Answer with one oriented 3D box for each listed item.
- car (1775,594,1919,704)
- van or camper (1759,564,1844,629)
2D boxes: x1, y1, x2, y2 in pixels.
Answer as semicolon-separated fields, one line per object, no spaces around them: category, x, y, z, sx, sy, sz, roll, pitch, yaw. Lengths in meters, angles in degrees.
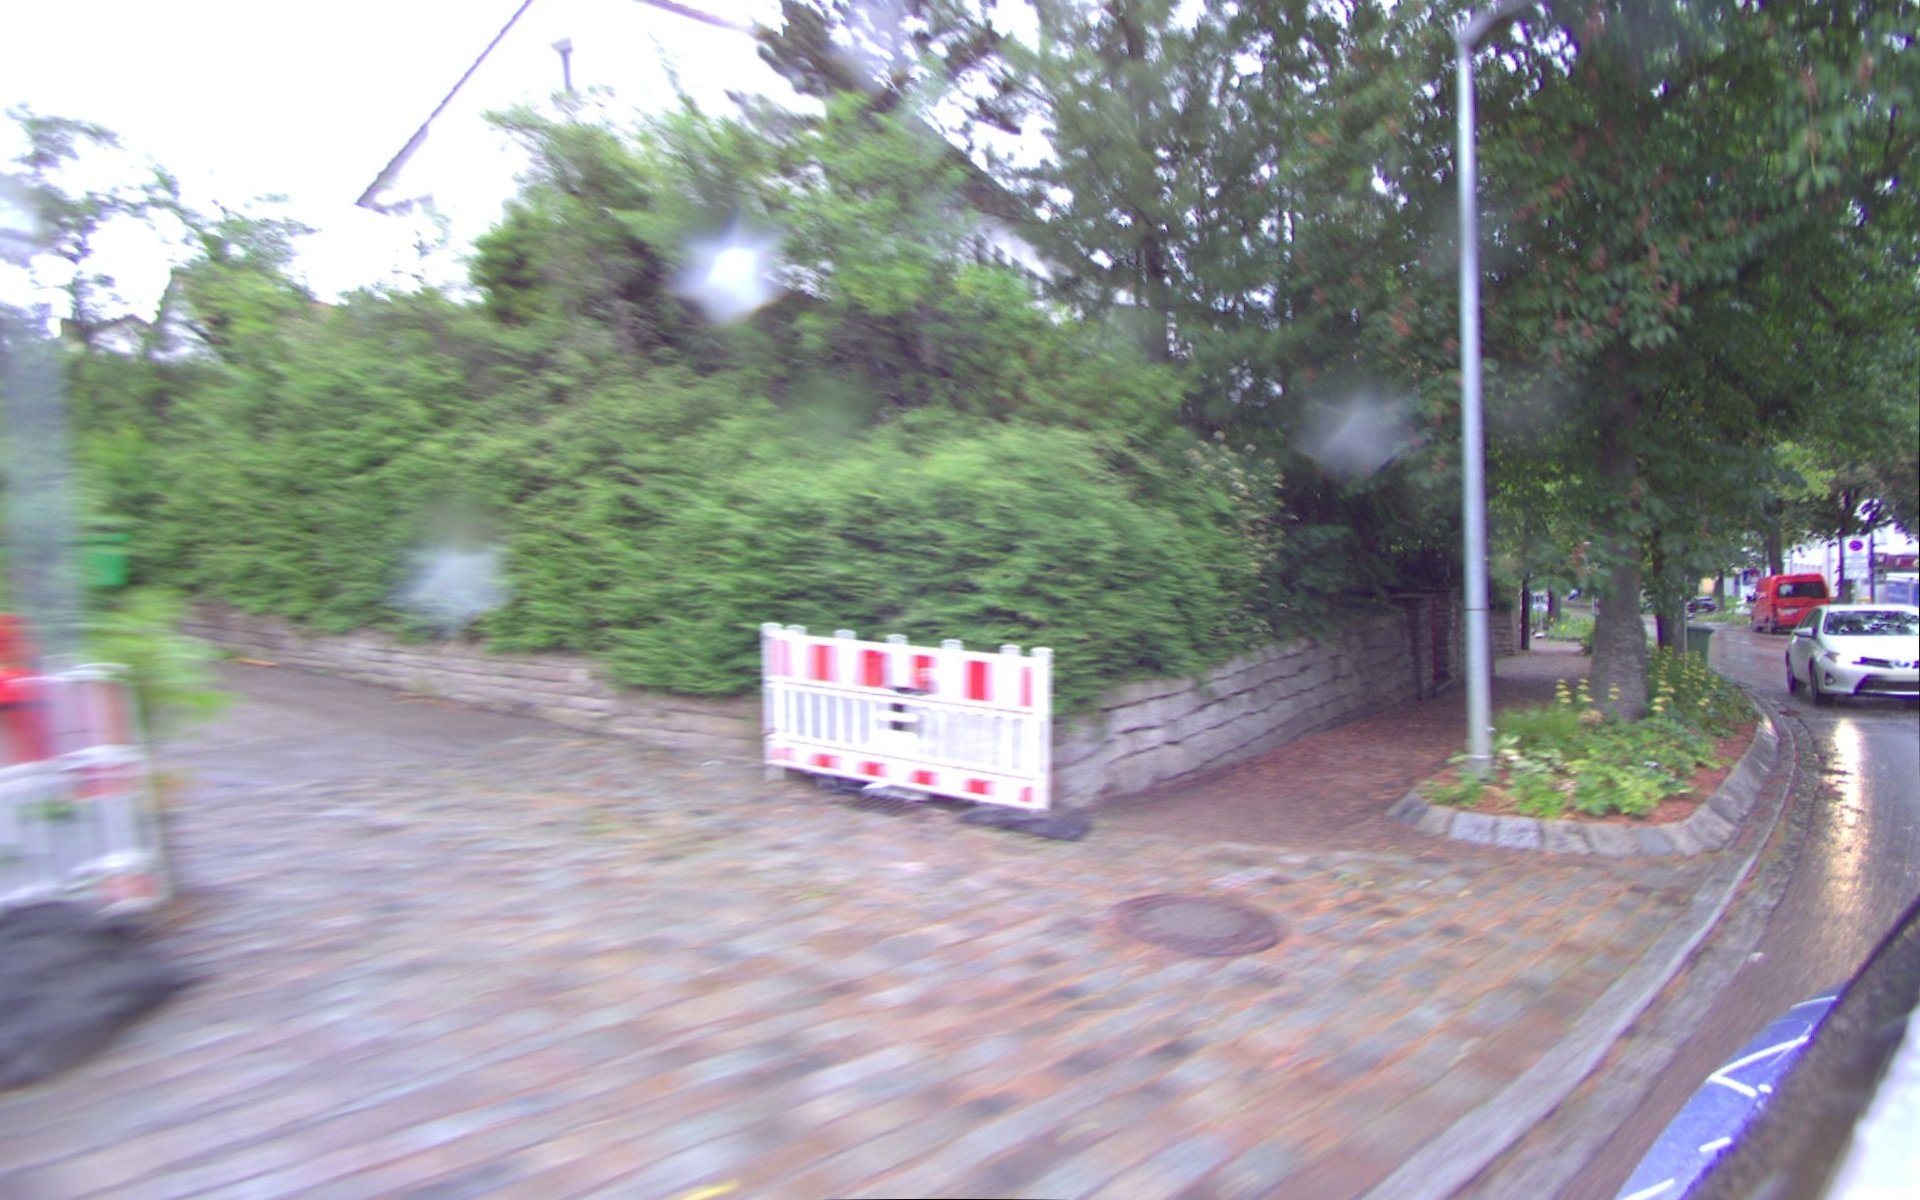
car;14.124;0.669;15.511;1.844;1.453;3.975;-2;-1;29
van or camper;35.544;-0.154;42.888;1.983;2.566;4.693;0;0;30
